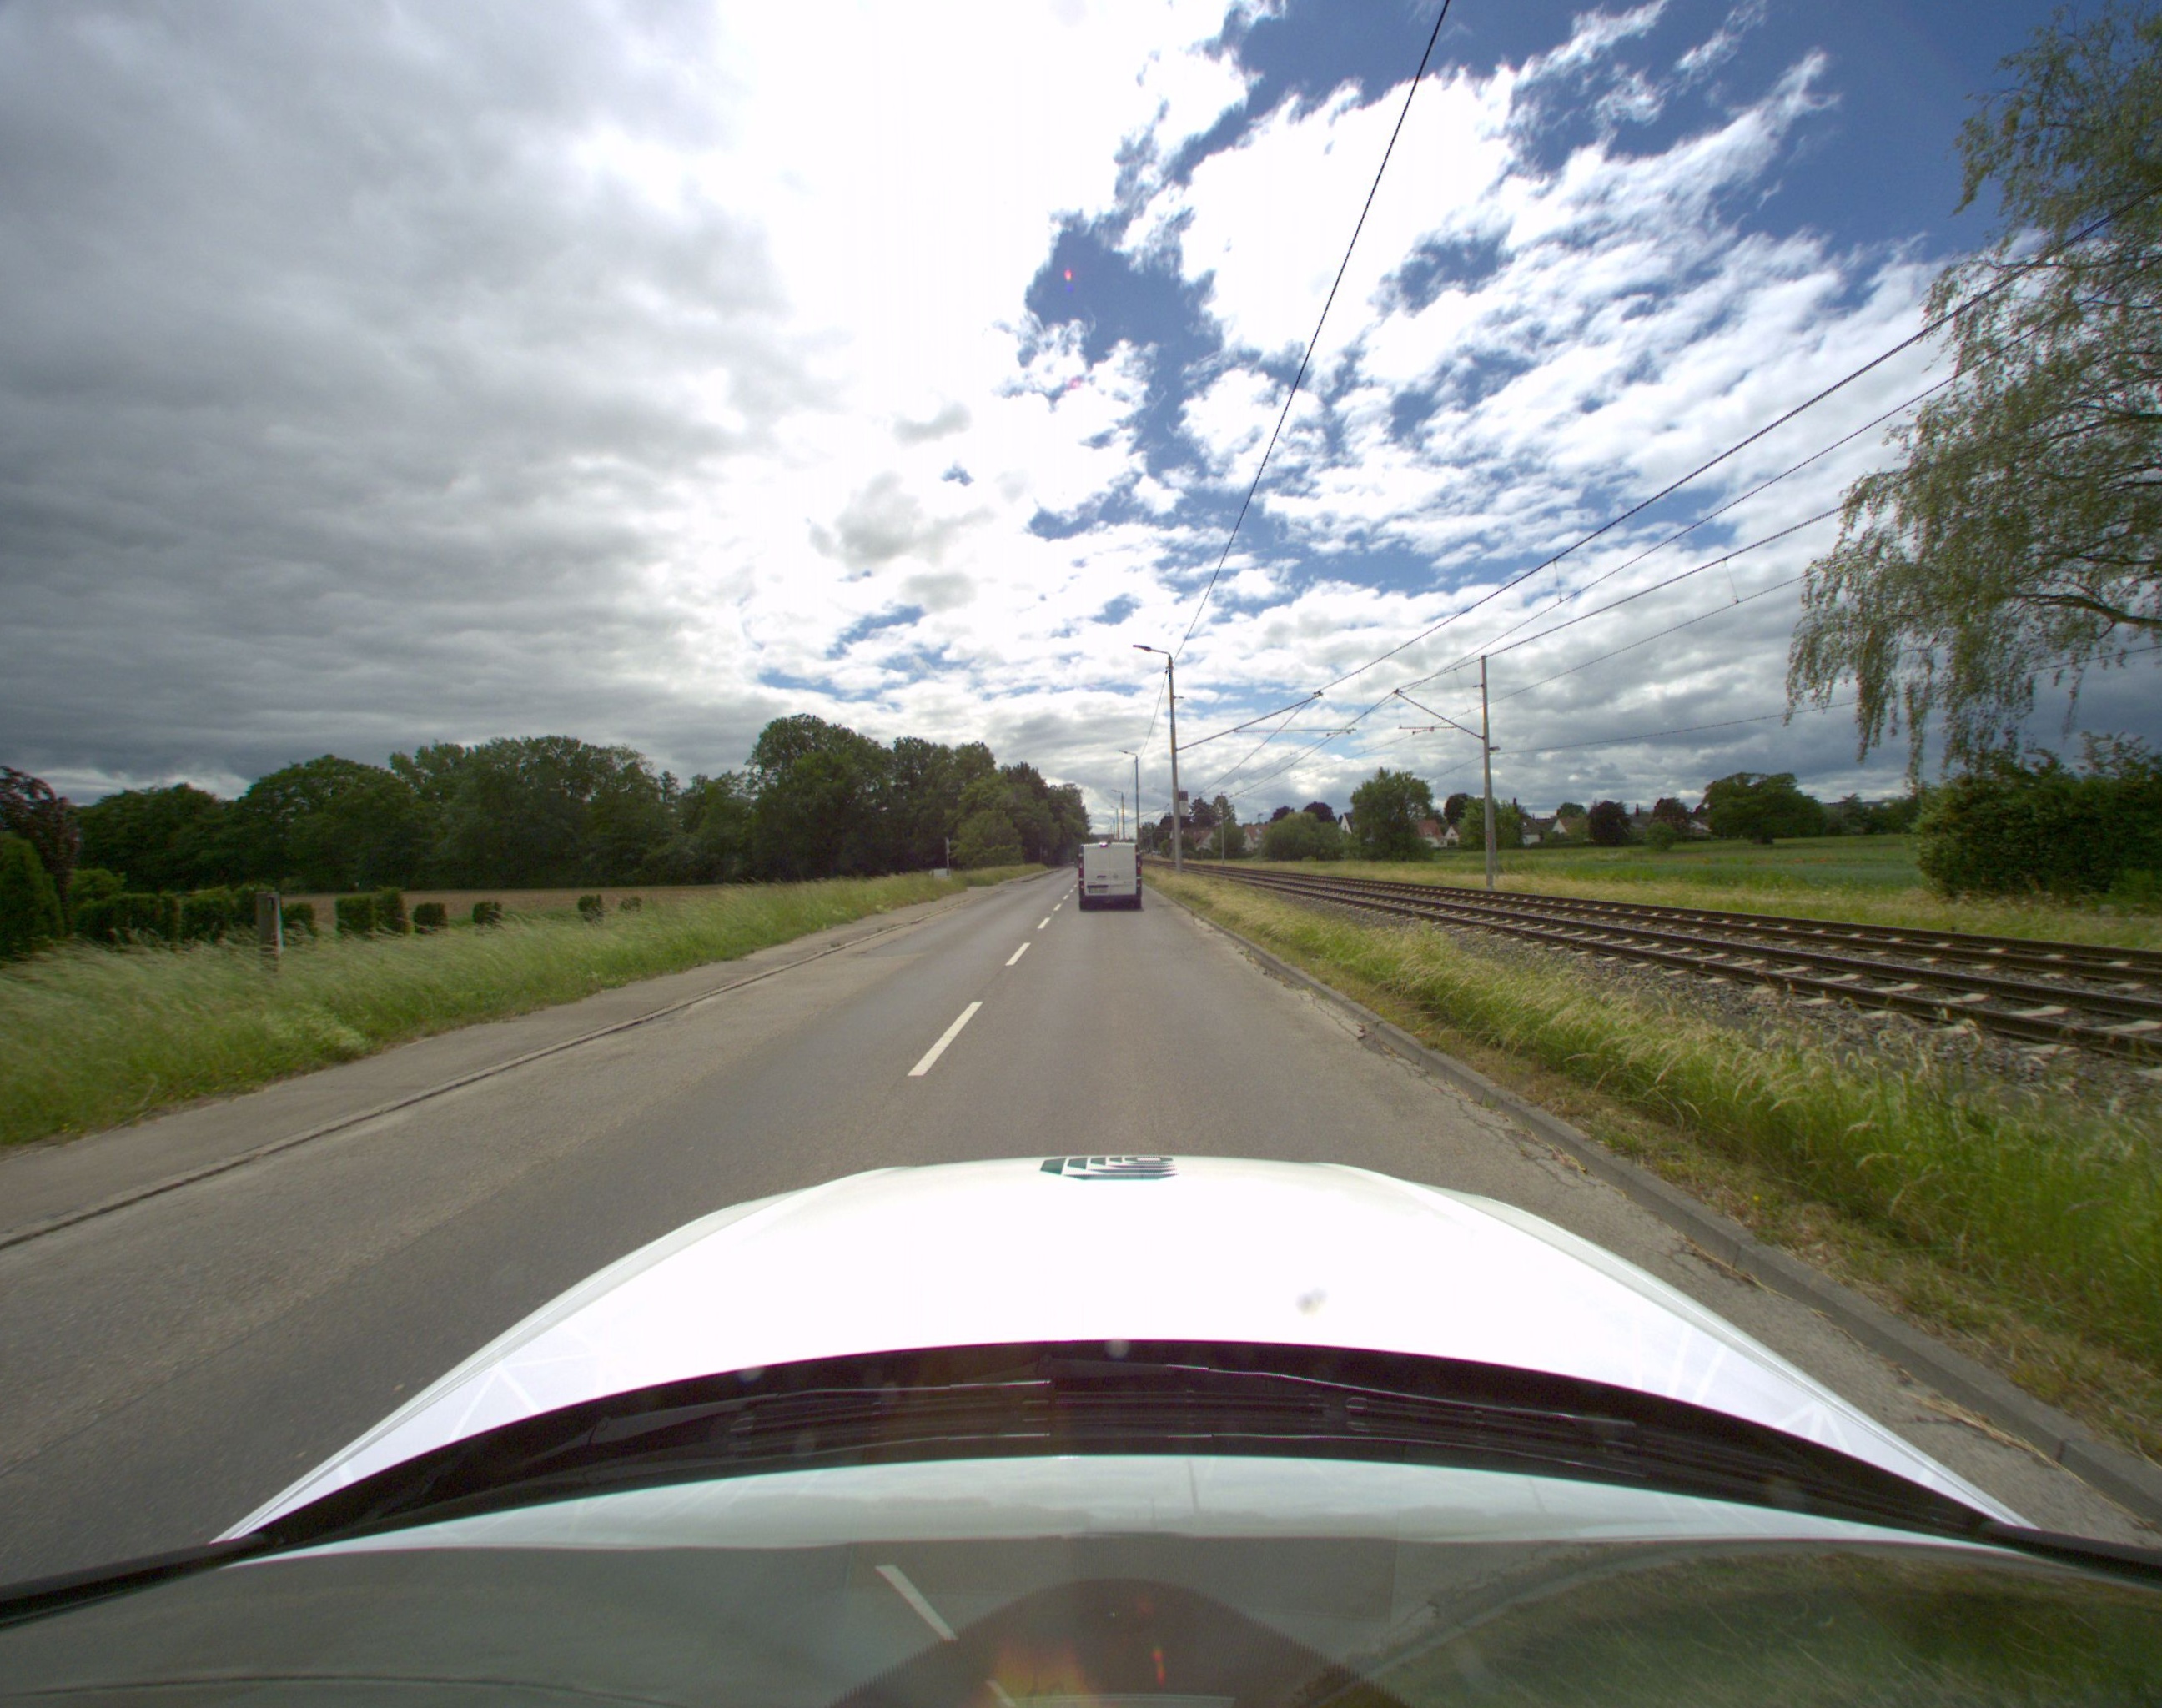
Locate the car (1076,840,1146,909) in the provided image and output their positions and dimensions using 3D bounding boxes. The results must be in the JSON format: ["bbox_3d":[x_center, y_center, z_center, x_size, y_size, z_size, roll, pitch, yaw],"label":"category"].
[{"bbox_3d":[0.873,0.610,25.270,1.987,1.957,3.999,0,-1,0],"label":"car"}]
